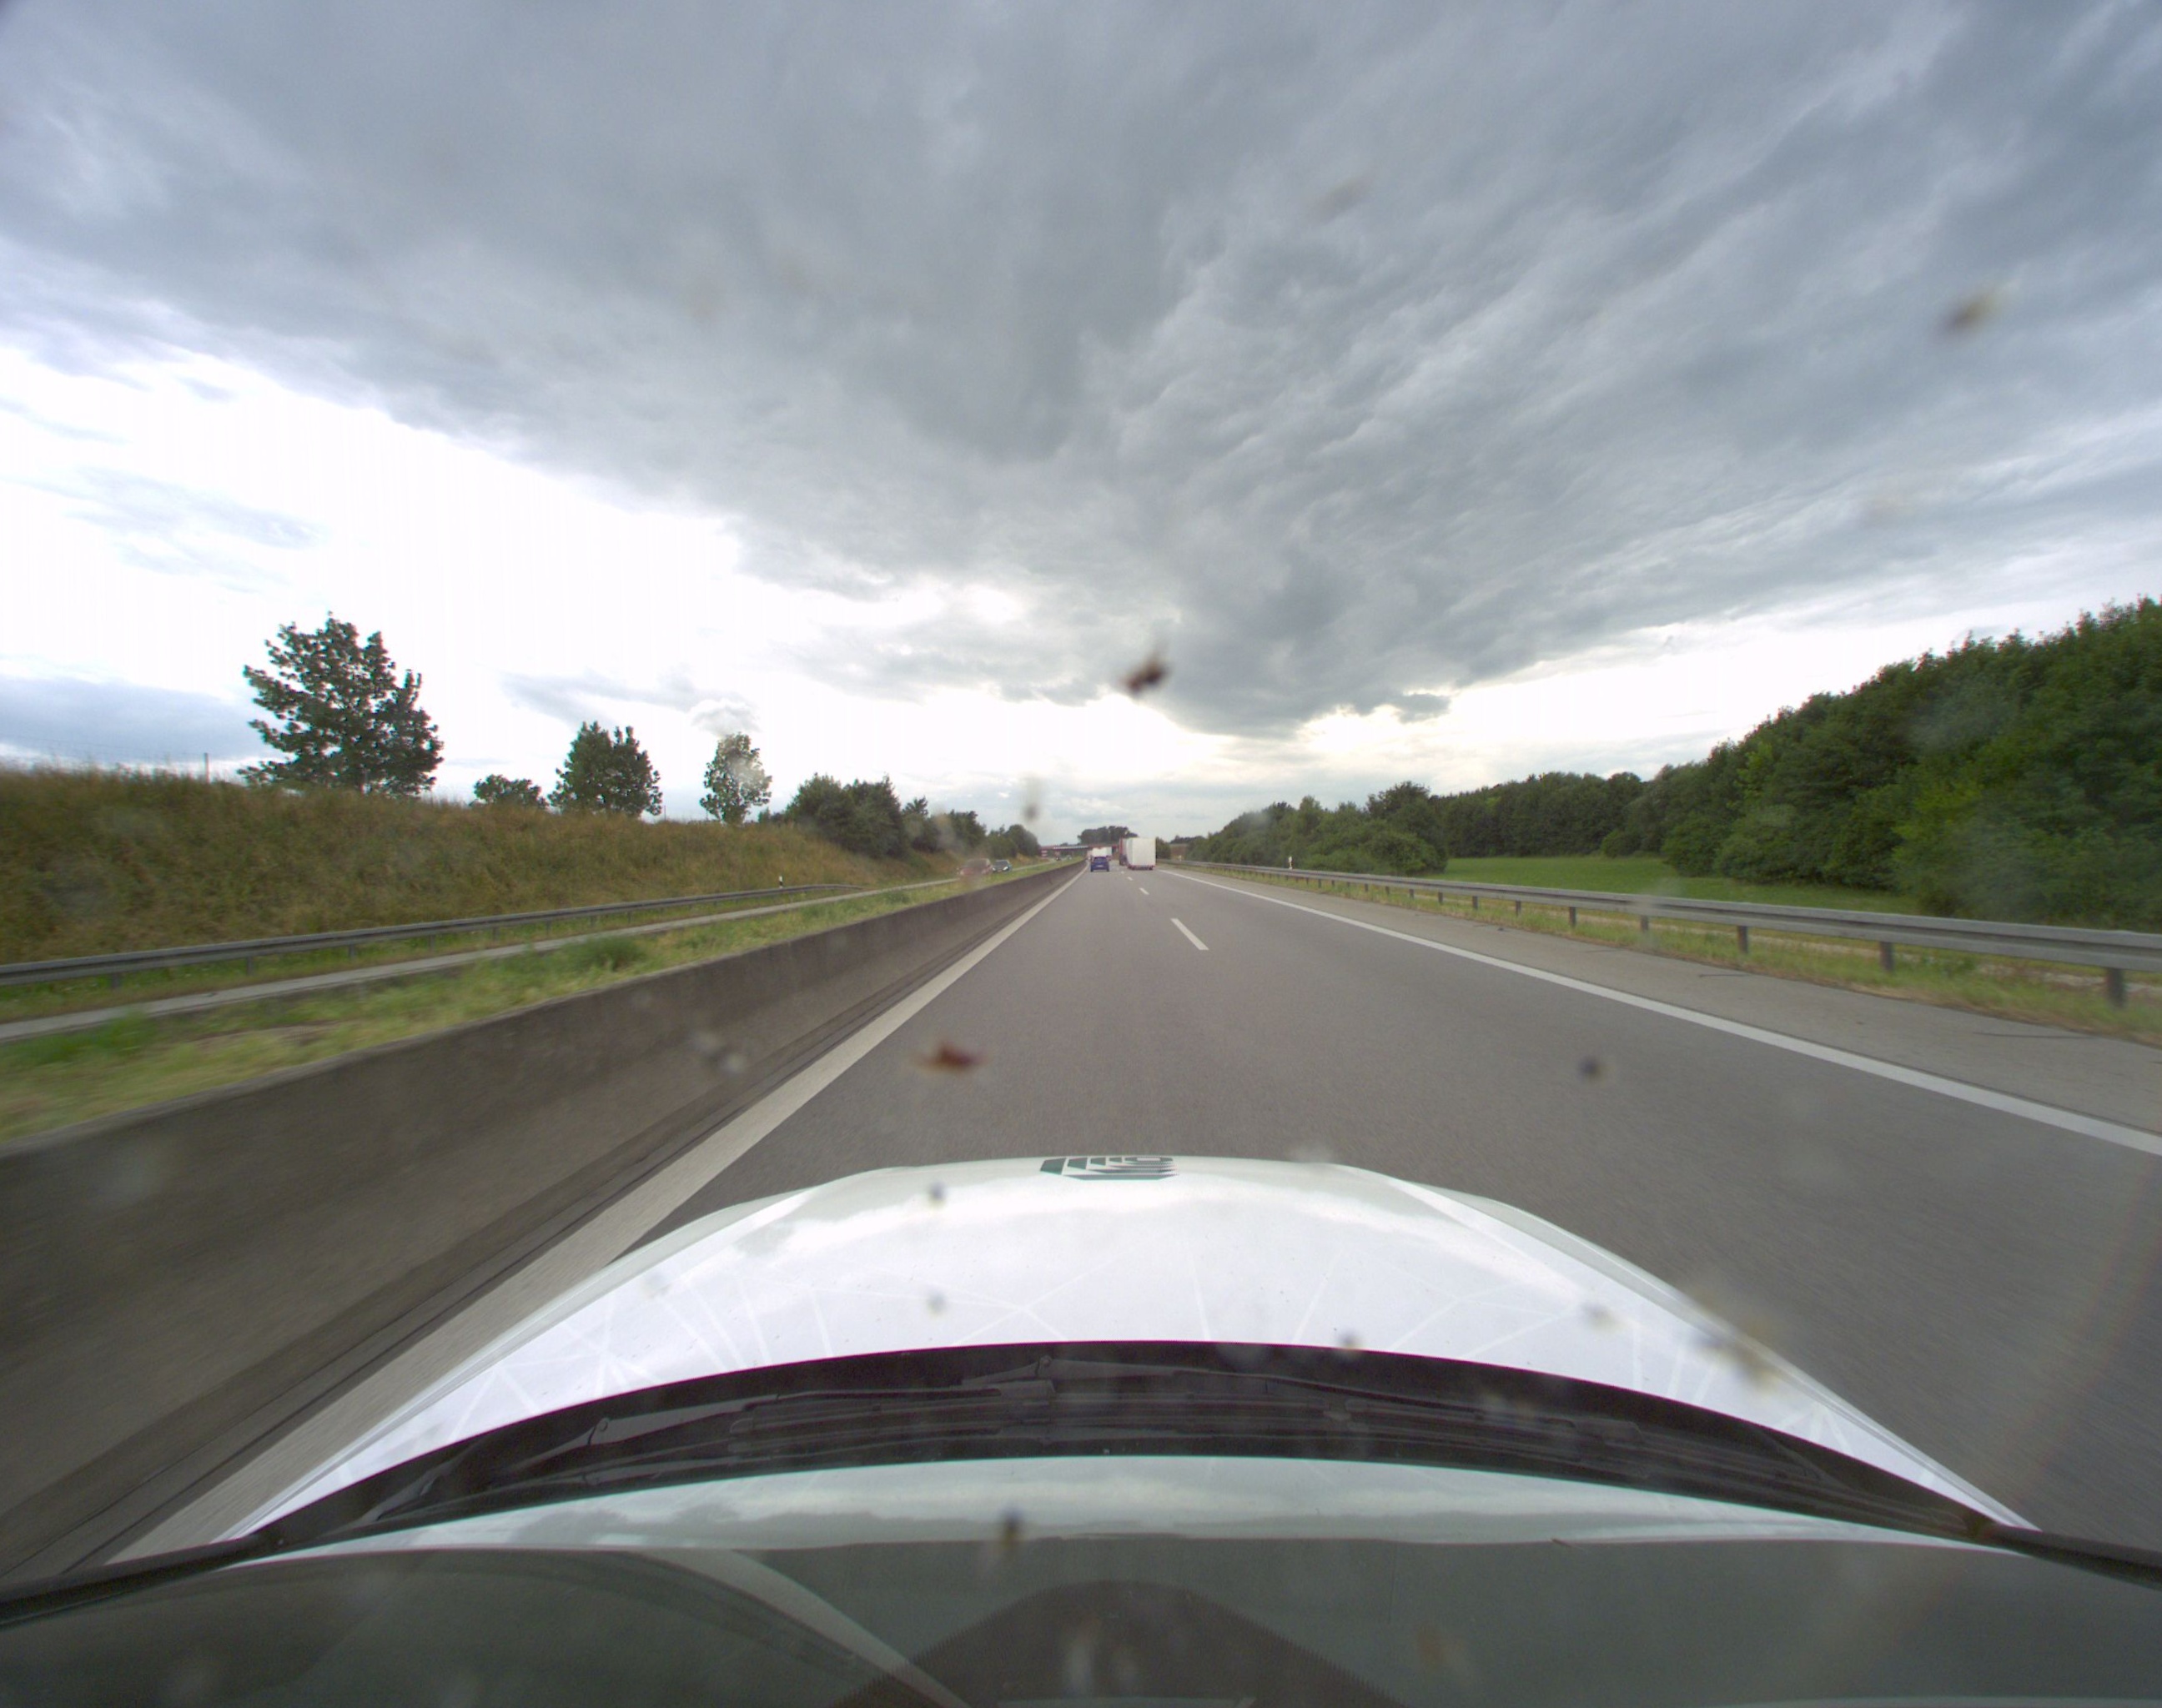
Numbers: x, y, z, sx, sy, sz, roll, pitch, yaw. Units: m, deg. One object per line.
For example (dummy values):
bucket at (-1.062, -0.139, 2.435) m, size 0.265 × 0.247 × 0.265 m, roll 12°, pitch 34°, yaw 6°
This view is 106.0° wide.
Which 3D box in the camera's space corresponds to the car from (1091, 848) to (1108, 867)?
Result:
car at (2.500, 0.446, 110.336) m, size 2.123 × 2.482 × 5.839 m, roll -2°, pitch 0°, yaw 0°

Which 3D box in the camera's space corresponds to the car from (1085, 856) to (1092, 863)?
car at (2.099, 1.589, 235.158) m, size 1.988 × 1.684 × 3.998 m, roll -1°, pitch 0°, yaw -1°

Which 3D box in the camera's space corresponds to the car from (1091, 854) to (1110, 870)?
car at (1.781, 0.750, 74.997) m, size 1.657 × 1.407 × 3.649 m, roll -1°, pitch 0°, yaw 1°

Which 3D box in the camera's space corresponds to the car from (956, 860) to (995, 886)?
car at (-7.061, 1.248, 54.763) m, size 1.839 × 1.571 × 4.362 m, roll -3°, pitch 0°, yaw 1°

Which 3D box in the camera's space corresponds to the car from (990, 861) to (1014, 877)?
car at (-8.322, 1.571, 85.713) m, size 1.839 × 1.497 × 4.581 m, roll -4°, pitch 0°, yaw 1°

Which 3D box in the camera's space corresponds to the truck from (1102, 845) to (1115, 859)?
truck at (7.598, -0.404, 229.089) m, size 3.101 × 3.689 × 9.319 m, roll -4°, pitch 0°, yaw -1°

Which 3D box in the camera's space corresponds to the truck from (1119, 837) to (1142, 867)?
truck at (6.987, -0.319, 116.558) m, size 2.664 × 4.045 × 11.108 m, roll -2°, pitch 0°, yaw 1°

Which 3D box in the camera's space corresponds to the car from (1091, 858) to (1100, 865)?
car at (3.613, 1.770, 202.538) m, size 1.927 × 1.643 × 4.905 m, roll -2°, pitch 0°, yaw 2°

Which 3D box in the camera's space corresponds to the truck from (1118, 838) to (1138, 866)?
truck at (7.017, -0.335, 121.968) m, size 2.664 × 4.045 × 5.513 m, roll -2°, pitch 0°, yaw 1°

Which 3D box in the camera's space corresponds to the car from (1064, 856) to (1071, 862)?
car at (-4.272, 1.687, 258.813) m, size 1.913 × 1.694 × 4.597 m, roll -3°, pitch 0°, yaw 1°

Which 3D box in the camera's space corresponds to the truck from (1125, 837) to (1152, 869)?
truck at (6.111, -0.102, 87.380) m, size 2.421 × 3.243 × 7.248 m, roll -1°, pitch 0°, yaw 1°

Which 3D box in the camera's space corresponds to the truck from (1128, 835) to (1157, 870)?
truck at (5.953, -0.141, 80.185) m, size 2.406 × 3.222 × 7.145 m, roll -1°, pitch 0°, yaw 1°
